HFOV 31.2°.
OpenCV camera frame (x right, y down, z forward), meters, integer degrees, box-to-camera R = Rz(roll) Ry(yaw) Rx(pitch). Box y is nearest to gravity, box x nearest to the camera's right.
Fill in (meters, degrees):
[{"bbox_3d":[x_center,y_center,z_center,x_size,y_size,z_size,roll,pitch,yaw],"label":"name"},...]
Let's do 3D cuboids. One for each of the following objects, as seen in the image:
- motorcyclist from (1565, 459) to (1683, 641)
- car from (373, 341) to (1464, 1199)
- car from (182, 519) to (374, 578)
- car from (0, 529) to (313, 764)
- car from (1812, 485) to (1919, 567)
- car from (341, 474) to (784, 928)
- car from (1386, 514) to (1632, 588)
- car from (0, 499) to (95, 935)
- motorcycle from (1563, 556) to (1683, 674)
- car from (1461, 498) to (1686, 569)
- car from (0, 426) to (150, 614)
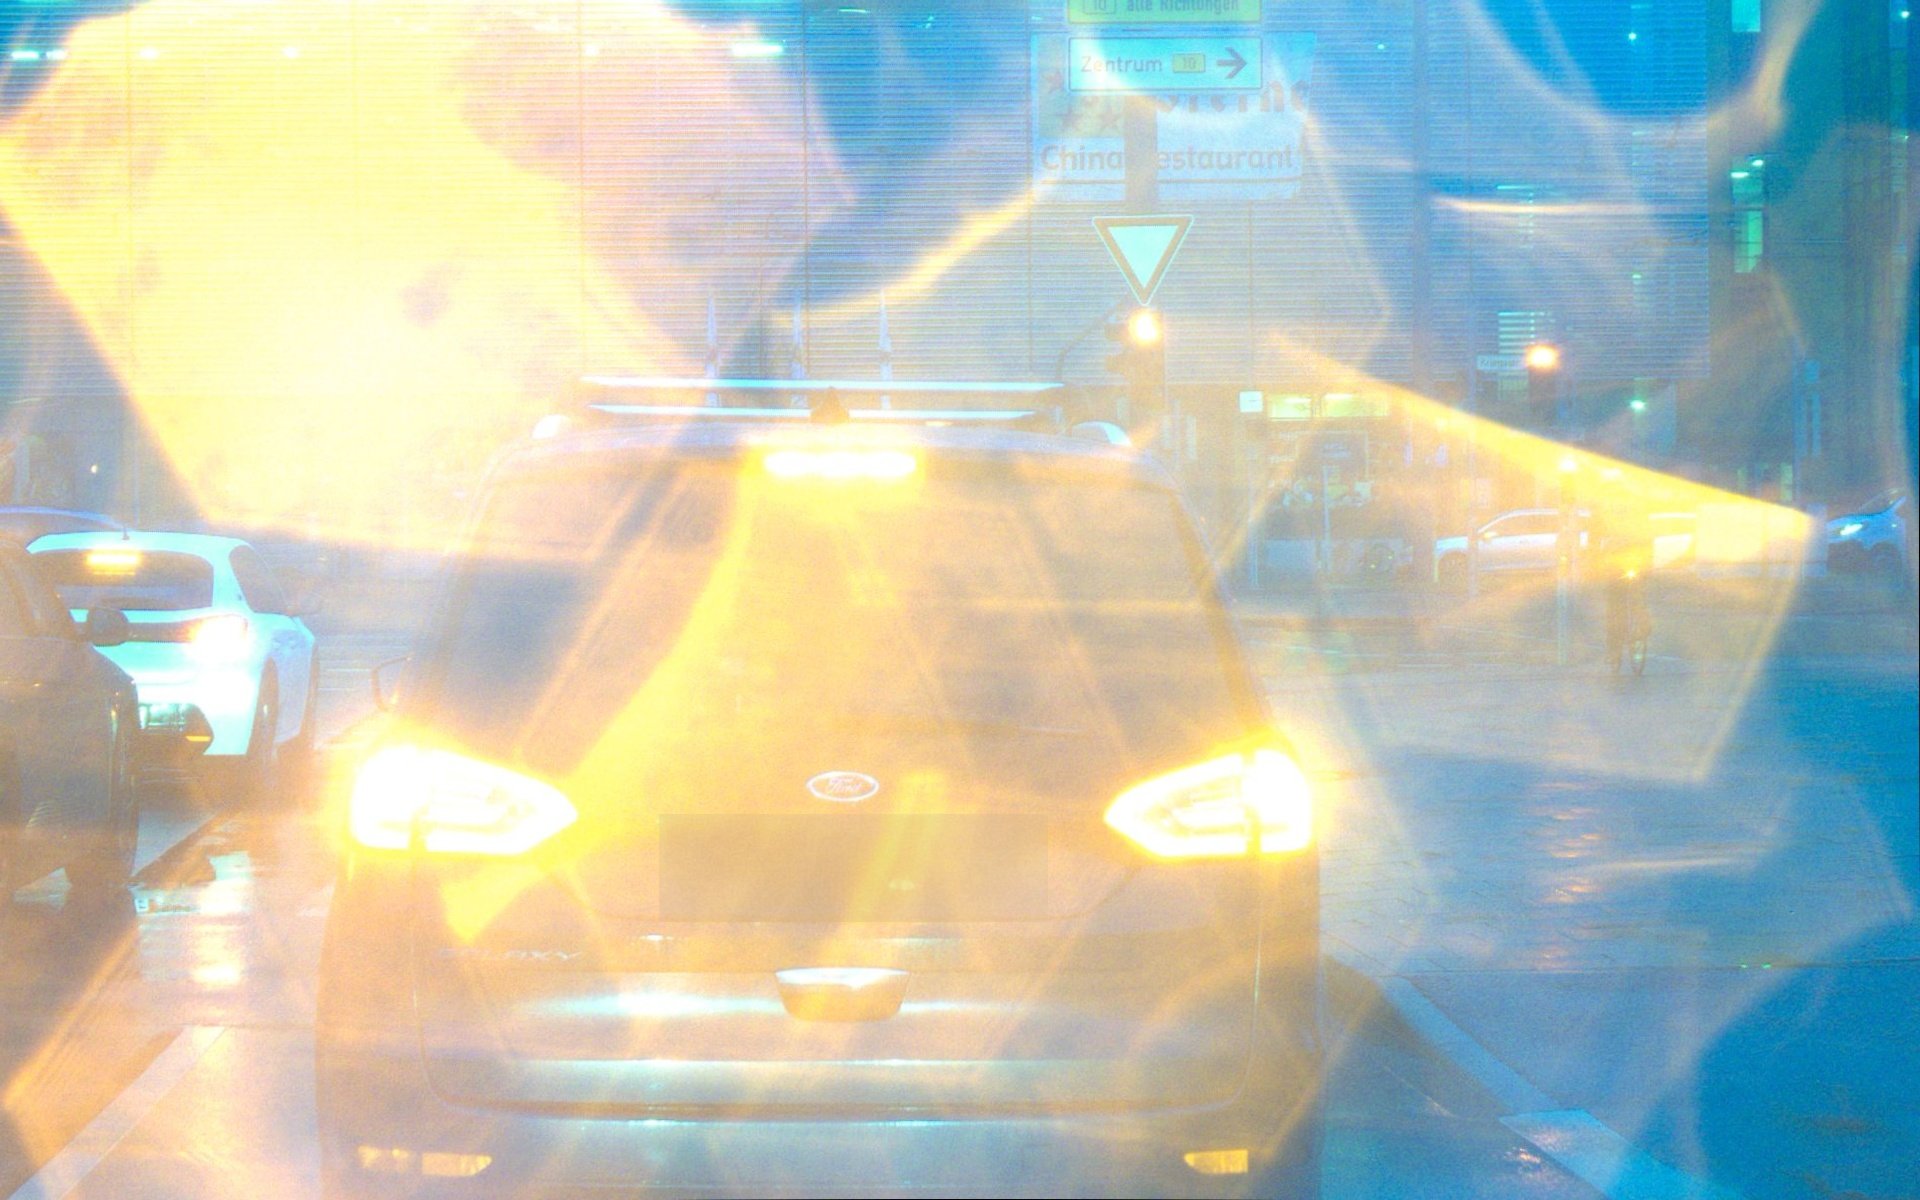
[{"bbox_3d":[5.701,-0.434,29.572,0.868,1.529,1.108,0,1,5],"label":"motorcyclist"},{"bbox_3d":[-0.186,0.422,7.719,1.735,1.732,4.248,2,1,-3],"label":"car"},{"bbox_3d":[-14.087,-1.078,71.169,3.758,1.161,1.681,-1,1,-6],"label":"car"},{"bbox_3d":[-4.709,0.210,20.430,1.540,1.247,4.069,0,1,-8],"label":"car"},{"bbox_3d":[19.322,-1.482,68.003,4.418,1.589,1.800,-1,1,-8],"label":"car"},{"bbox_3d":[-1.654,0.352,14.698,1.636,1.691,3.671,1,1,-5],"label":"car"},{"bbox_3d":[10.742,-0.974,67.427,4.418,1.385,1.800,-1,1,-8],"label":"car"},{"bbox_3d":[-4.340,0.428,12.350,1.752,1.568,4.001,-1,1,-5],"label":"car"},{"bbox_3d":[5.704,0.120,29.647,0.853,0.968,1.581,0,1,5],"label":"motorcycle"},{"bbox_3d":[12.601,-1.374,70.716,4.214,1.385,1.800,-1,1,-8],"label":"car"},{"bbox_3d":[-10.481,-0.806,35.557,3.986,1.868,2.001,-2,2,-12],"label":"car"}]
